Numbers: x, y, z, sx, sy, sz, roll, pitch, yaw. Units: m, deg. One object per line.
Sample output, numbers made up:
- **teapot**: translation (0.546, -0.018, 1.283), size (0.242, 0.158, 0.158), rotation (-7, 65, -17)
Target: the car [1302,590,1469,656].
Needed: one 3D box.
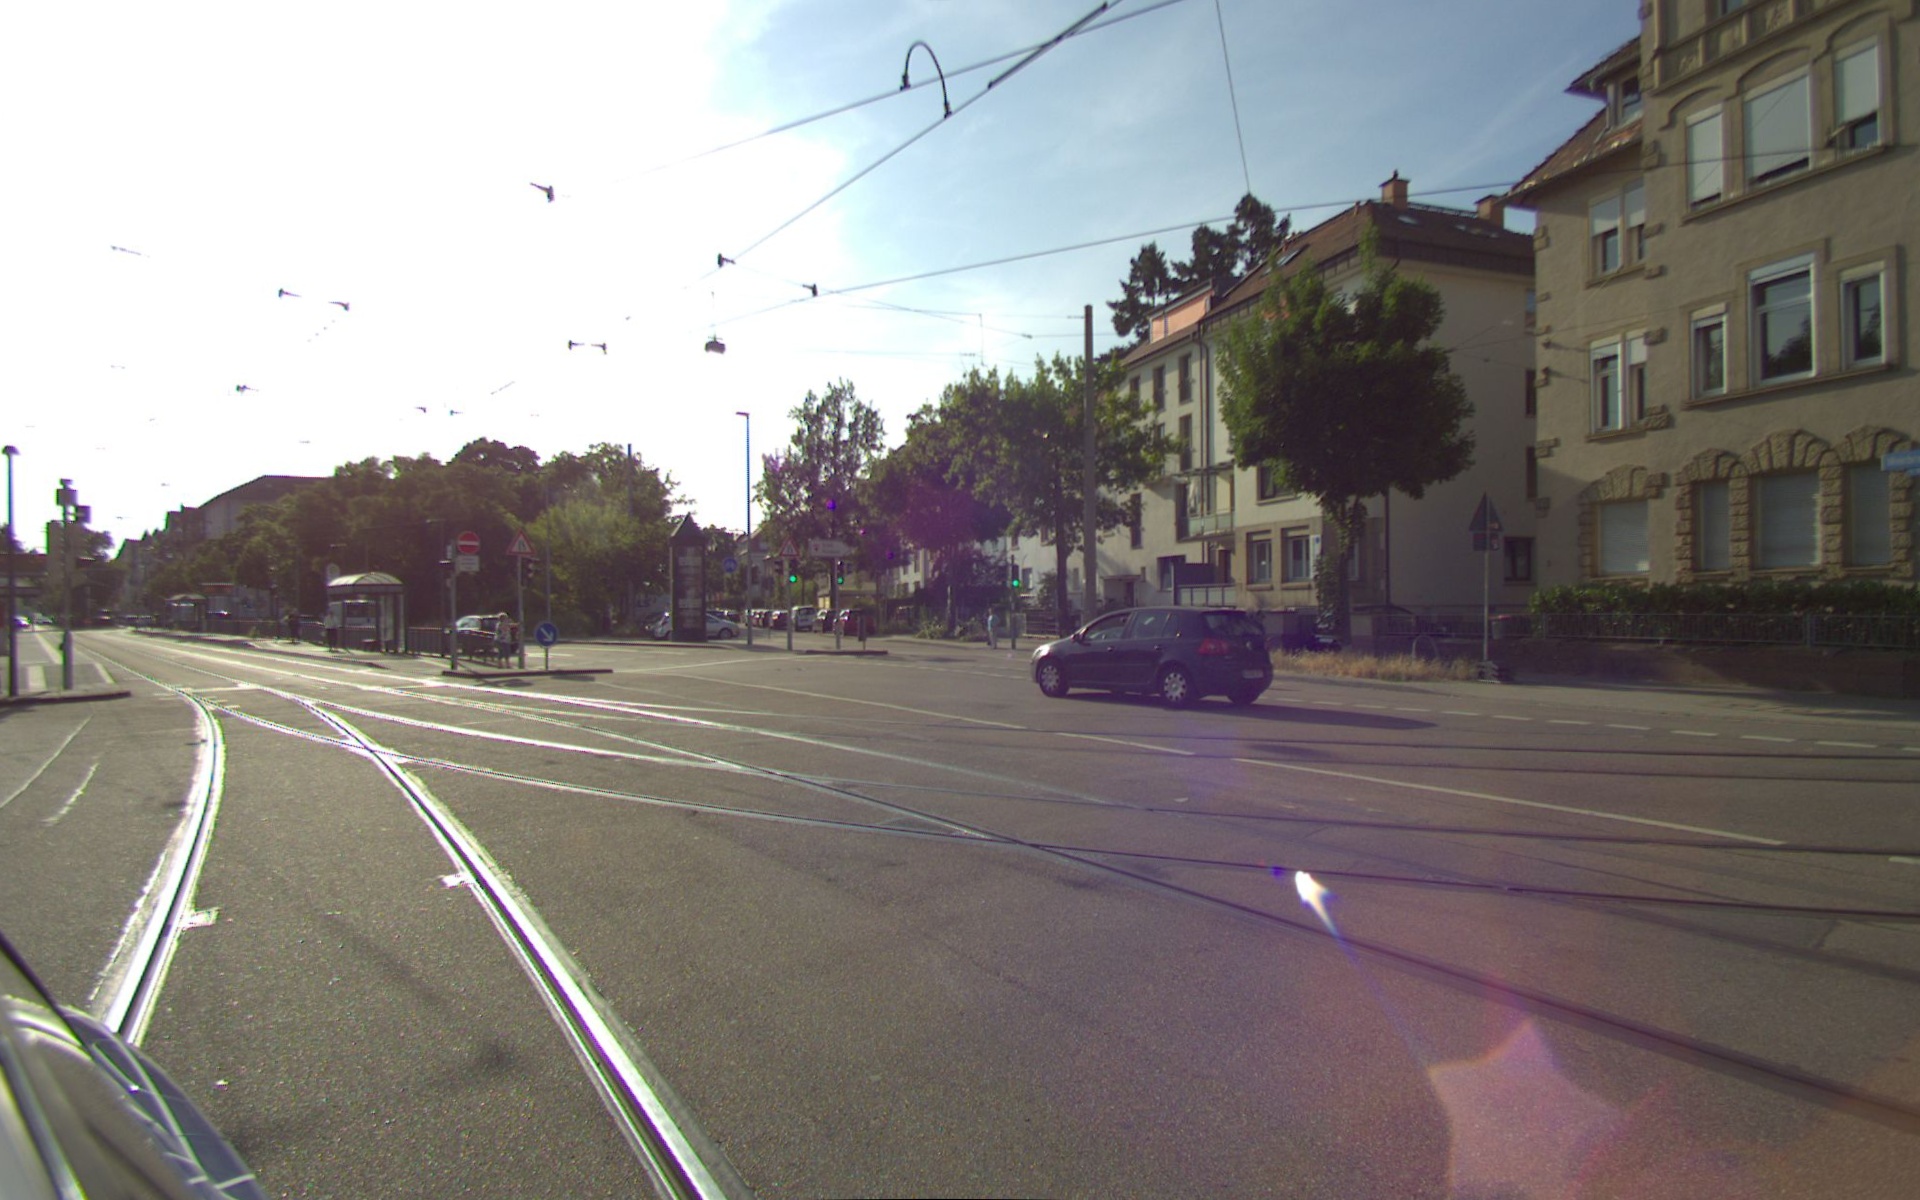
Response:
- **car**: translation (11.546, 0.600, 27.512), size (3.931, 1.644, 1.781), rotation (-1, -1, -18)

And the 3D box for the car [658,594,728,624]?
- **car**: translation (-16.508, 0.556, 62.570), size (3.930, 1.767, 1.861), rotation (-1, 0, -24)

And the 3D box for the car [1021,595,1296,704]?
- **car**: translation (2.934, 0.694, 15.671), size (1.744, 1.444, 4.008), rotation (-1, -1, -38)

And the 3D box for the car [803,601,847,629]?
- **car**: translation (-8.101, 0.893, 60.409), size (1.787, 1.584, 4.013), rotation (-1, 0, -20)

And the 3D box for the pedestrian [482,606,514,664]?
- **pedestrian**: translation (-13.023, 0.972, 28.524), size (0.715, 1.601, 0.583), rotation (-1, 0, 43)

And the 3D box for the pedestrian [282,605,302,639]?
- **pedestrian**: translation (-32.944, 1.088, 49.902), size (0.726, 1.640, 0.690), rotation (0, 0, -43)

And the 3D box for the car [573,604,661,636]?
- **car**: translation (-16.658, 0.931, 49.091), size (3.931, 1.439, 1.778), rotation (-1, 0, -22)

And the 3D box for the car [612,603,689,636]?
- **car**: translation (-17.455, 1.085, 57.032), size (3.930, 1.767, 1.861), rotation (-1, 0, -24)

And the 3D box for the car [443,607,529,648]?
- **car**: translation (-18.971, 1.125, 40.390), size (1.745, 1.506, 4.749), rotation (0, -2, -42)

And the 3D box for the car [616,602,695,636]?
- **car**: translation (-16.618, 0.997, 55.251), size (3.930, 1.767, 1.861), rotation (-1, 0, -24)

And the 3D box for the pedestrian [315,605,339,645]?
- **pedestrian**: translation (-26.261, 1.024, 41.988), size (0.698, 1.640, 0.728), rotation (0, 0, -43)

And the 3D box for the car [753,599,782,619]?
- **car**: translation (-15.898, 0.756, 83.433), size (1.787, 1.548, 4.013), rotation (-1, 0, -20)

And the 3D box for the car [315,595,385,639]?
- **car**: translation (-32.830, 0.921, 54.405), size (2.151, 2.256, 5.258), rotation (-1, -1, -43)

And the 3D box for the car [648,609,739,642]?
- **car**: translation (-12.600, 1.184, 47.821), size (3.931, 1.439, 1.778), rotation (-1, 0, -22)

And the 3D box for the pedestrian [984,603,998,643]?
- **pedestrian**: translation (1.183, 0.867, 38.553), size (0.399, 1.527, 0.391), rotation (-1, 0, -17)

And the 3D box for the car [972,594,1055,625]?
- **car**: translation (2.791, 0.496, 53.245), size (3.931, 1.570, 1.862), rotation (-1, 0, -18)

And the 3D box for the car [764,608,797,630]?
- **car**: translation (-13.855, 1.414, 77.849), size (1.787, 1.626, 4.013), rotation (-1, 0, -20)

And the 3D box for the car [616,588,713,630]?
- **car**: translation (-21.159, 0.606, 72.616), size (6.488, 2.830, 1.778), rotation (-1, 0, -22)

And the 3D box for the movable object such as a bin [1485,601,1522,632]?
- **movable object such as a bin**: translation (14.815, 0.457, 27.596), size (0.644, 0.820, 0.612), rotation (-1, 0, -27)

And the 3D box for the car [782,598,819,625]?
- **car**: translation (-11.122, 0.786, 70.465), size (1.787, 1.813, 4.013), rotation (-1, 0, -20)

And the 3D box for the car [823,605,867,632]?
- **car**: translation (-6.373, 0.989, 55.789), size (1.523, 1.437, 3.877), rotation (-1, 0, -20)

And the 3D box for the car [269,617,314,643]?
- **car**: translation (-42.259, 1.926, 63.915), size (1.657, 1.537, 4.127), rotation (0, -1, -44)

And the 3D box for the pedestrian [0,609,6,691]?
- **pedestrian**: translation (-20.307, 1.035, 20.884), size (0.869, 1.683, 0.673), rotation (0, 0, -41)
